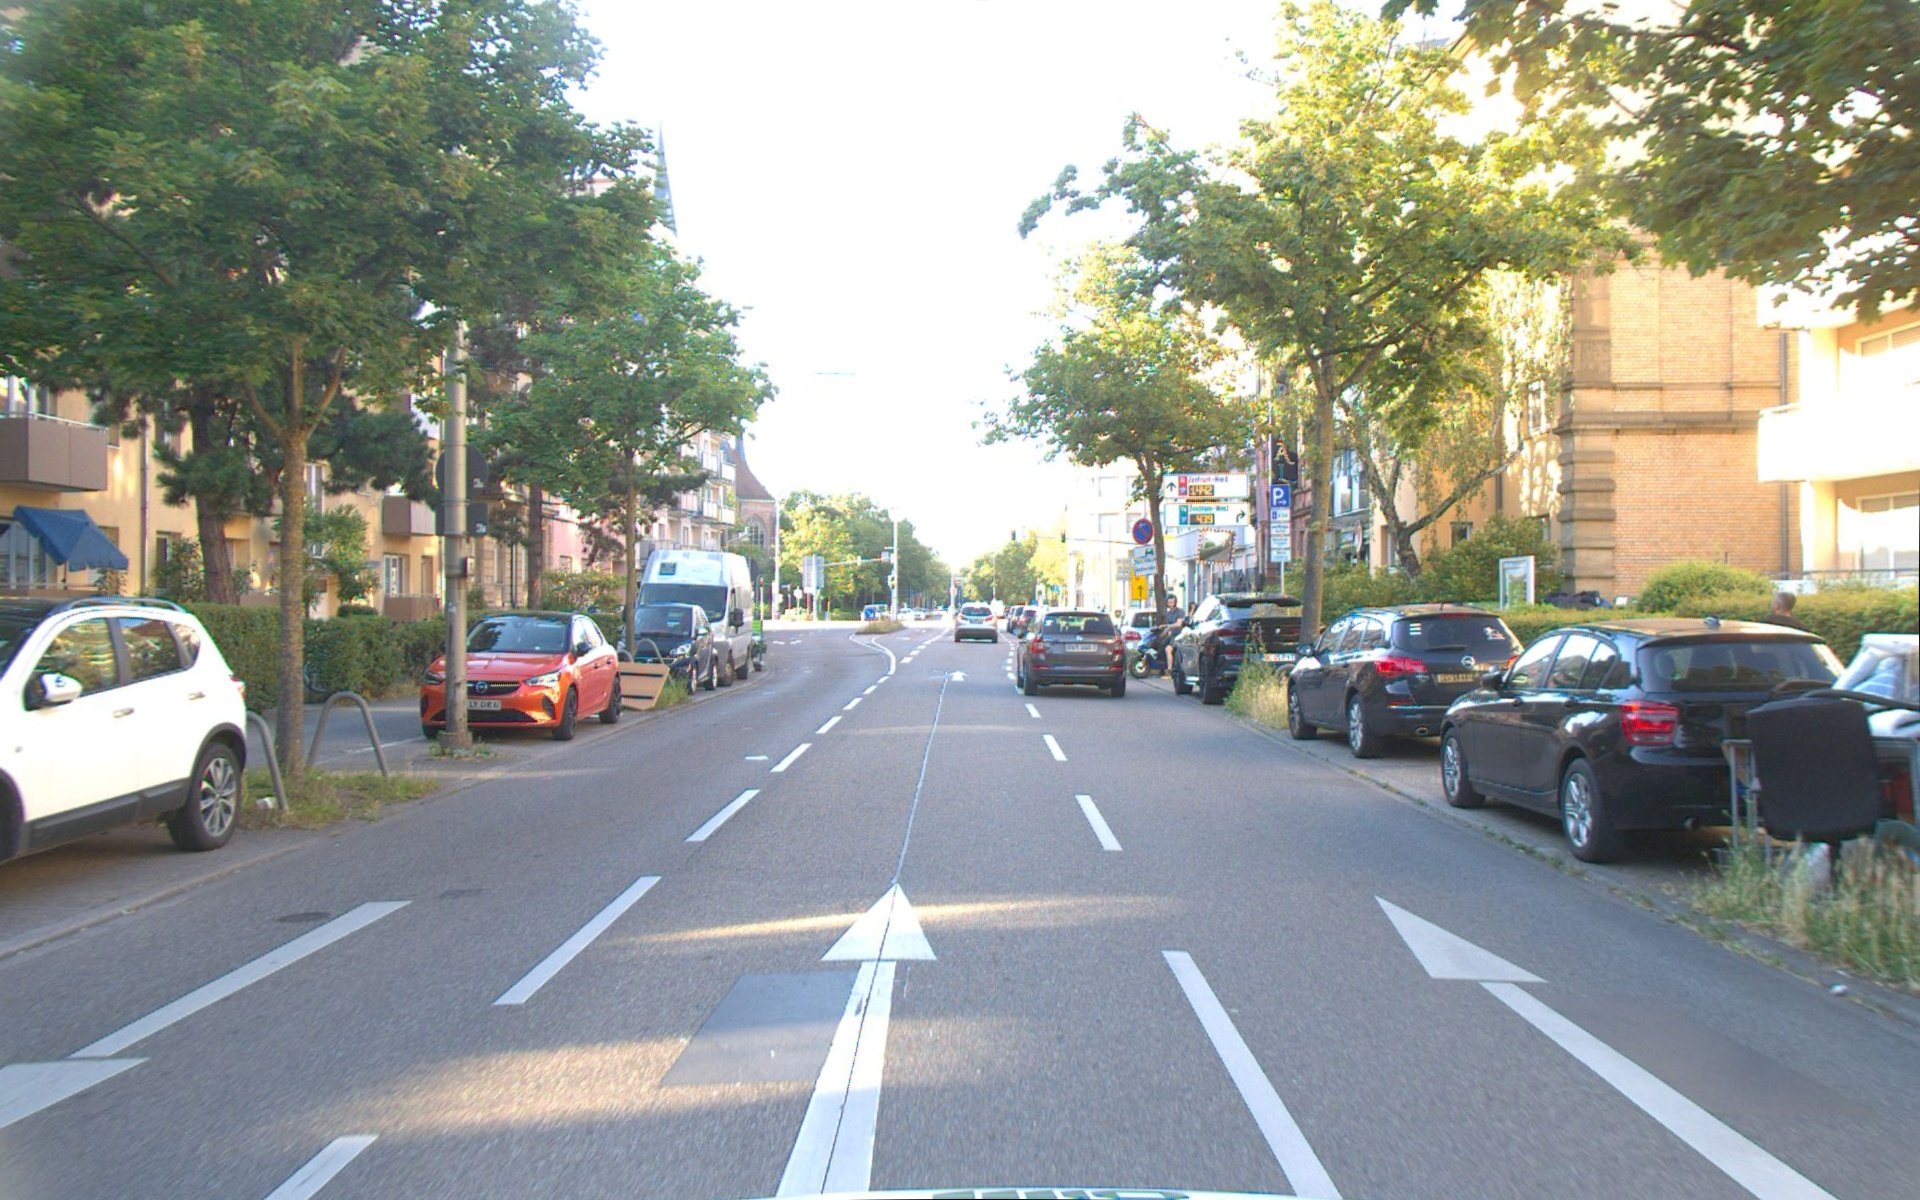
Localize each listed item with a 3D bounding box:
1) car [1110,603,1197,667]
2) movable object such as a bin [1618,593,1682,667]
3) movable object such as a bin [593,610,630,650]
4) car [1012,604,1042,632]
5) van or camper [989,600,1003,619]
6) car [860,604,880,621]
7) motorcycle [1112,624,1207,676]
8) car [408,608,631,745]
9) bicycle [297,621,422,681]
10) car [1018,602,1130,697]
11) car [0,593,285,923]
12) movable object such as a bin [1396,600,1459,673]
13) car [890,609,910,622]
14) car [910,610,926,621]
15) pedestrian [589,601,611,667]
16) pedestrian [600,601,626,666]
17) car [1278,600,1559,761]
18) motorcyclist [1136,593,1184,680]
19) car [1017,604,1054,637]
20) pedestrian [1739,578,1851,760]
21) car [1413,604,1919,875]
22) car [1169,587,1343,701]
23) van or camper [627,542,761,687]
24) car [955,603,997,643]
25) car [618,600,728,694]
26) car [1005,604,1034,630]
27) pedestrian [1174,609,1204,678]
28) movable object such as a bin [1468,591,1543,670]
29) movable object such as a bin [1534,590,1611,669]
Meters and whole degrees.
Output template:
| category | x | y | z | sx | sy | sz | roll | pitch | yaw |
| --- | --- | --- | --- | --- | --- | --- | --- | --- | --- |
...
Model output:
| category | x | y | z | sx | sy | sz | roll | pitch | yaw |
| --- | --- | --- | --- | --- | --- | --- | --- | --- | --- |
| car | 4.984 | 0.865 | 43.164 | 1.817 | 1.539 | 4.835 | -2 | 0 | 2 |
| movable object such as a bin | 14.084 | 0.599 | 33.758 | 1.117 | 1.467 | 0.993 | -1 | 0 | 28 |
| movable object such as a bin | -9.885 | 0.850 | 46.919 | 0.849 | 1.069 | 0.769 | 3 | 0 | -1 |
| car | 3.714 | 0.991 | 92.308 | 1.459 | 1.532 | 3.478 | 0 | 0 | -1 |
| van or camper | 5.356 | 1.415 | 243.649 | 1.952 | 2.687 | 5.351 | 0 | 0 | 2 |
| car | -8.926 | 1.260 | 164.678 | 1.743 | 1.676 | 4.000 | 0 | 0 | 1 |
| motorcycle | 4.271 | 1.057 | 35.457 | 1.891 | 1.090 | 0.818 | 0 | 0 | -12 |
| car | -5.305 | 0.860 | 20.409 | 1.682 | 1.477 | 3.923 | 1 | 0 | 0 |
| bicycle | -10.310 | 0.869 | 28.434 | 1.896 | 0.941 | 0.582 | 2 | 0 | 1 |
| car | 1.909 | 0.800 | 28.699 | 1.672 | 1.482 | 4.158 | 1 | 0 | 0 |
| car | -5.551 | 0.765 | 9.311 | 1.740 | 1.616 | 4.186 | 1 | 0 | 0 |
| movable object such as a bin | 9.624 | 0.749 | 34.083 | 1.226 | 1.467 | 0.995 | -1 | 0 | 15 |
| car | -5.961 | 1.504 | 164.112 | 1.743 | 1.258 | 4.000 | 0 | 0 | 1 |
| car | -5.044 | 1.865 | 197.798 | 1.743 | 1.258 | 4.000 | 0 | 0 | 1 |
| pedestrian | -9.271 | 0.872 | 42.585 | 0.470 | 1.681 | 0.724 | 0 | 0 | -6 |
| pedestrian | -9.117 | 0.879 | 43.419 | 0.593 | 1.681 | 0.696 | 0 | 0 | -6 |
| car | 4.794 | 0.763 | 17.963 | 1.682 | 1.498 | 4.430 | -1 | 0 | -2 |
| motorcyclist | 4.265 | 0.774 | 35.311 | 0.723 | 1.809 | 1.085 | 0 | -1 | -11 |
| car | 3.646 | 0.983 | 80.755 | 1.616 | 1.510 | 4.239 | 1 | 0 | 0 |
| pedestrian | 7.733 | 0.629 | 15.344 | 0.731 | 1.644 | 0.579 | 0 | 0 | -2 |
| car | 4.644 | 0.788 | 11.510 | 1.734 | 1.474 | 4.484 | -1 | 0 | 0 |
| car | 4.686 | 0.656 | 26.880 | 1.908 | 1.684 | 4.795 | 0 | 0 | -1 |
| van or camper | -5.474 | 0.289 | 34.762 | 1.995 | 2.710 | 6.013 | 2 | 0 | -2 |
| car | 0.649 | 0.902 | 67.421 | 1.672 | 1.536 | 4.309 | 1 | 0 | 0 |
| car | -5.121 | 0.806 | 29.784 | 1.374 | 1.575 | 2.762 | 2 | 0 | 2 |
| car | 3.501 | 0.987 | 97.625 | 1.552 | 1.472 | 3.647 | 1 | 0 | 0 |
| pedestrian | 4.885 | 0.919 | 35.339 | 0.430 | 1.455 | 0.702 | 0 | 0 | -11 |
| movable object such as a bin | 11.230 | 0.623 | 34.068 | 1.133 | 1.583 | 0.992 | 0 | 0 | -10 |
| movable object such as a bin | 12.545 | 0.596 | 33.895 | 1.133 | 1.583 | 0.992 | 0 | 0 | -10 |
